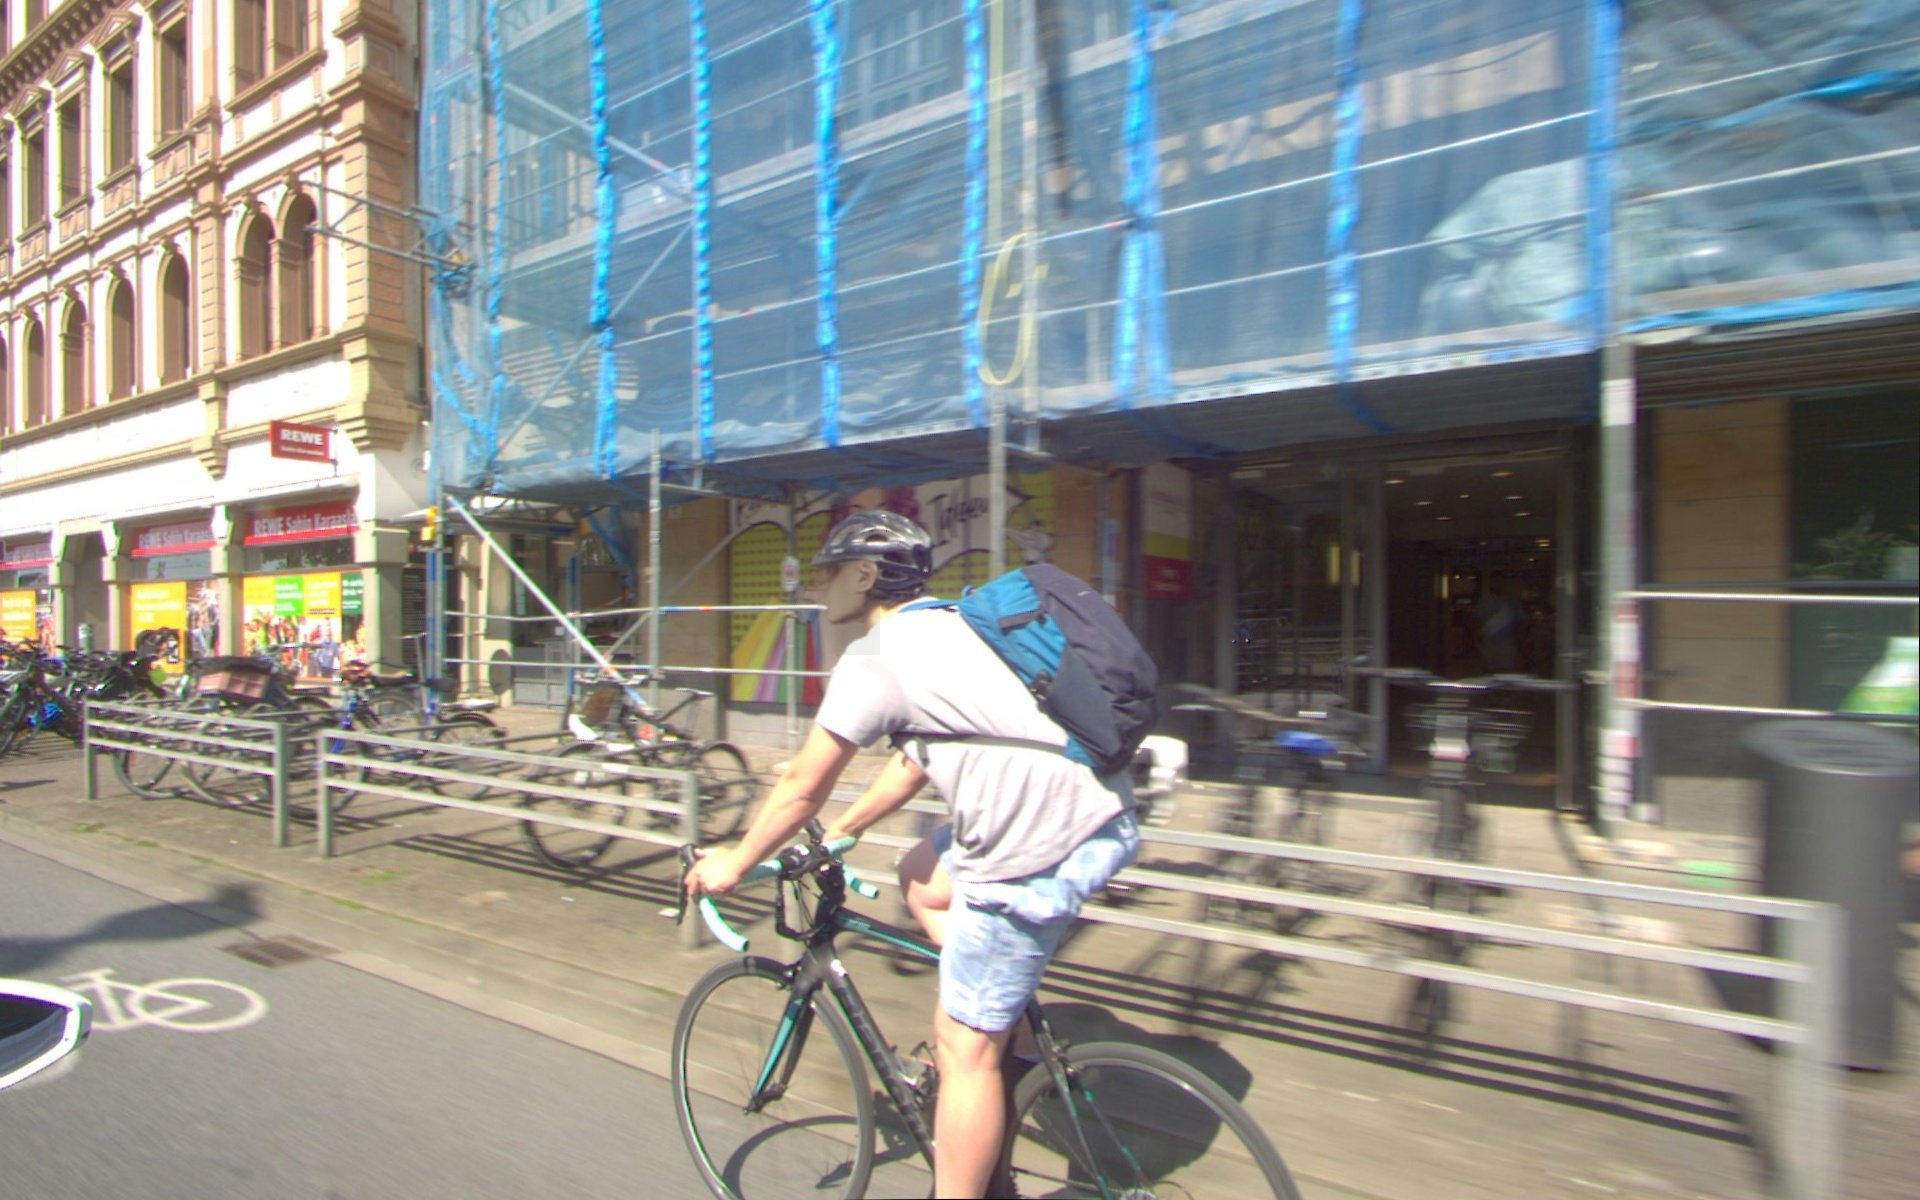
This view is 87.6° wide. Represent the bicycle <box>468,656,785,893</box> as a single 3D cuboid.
[{"bbox_3d":[-1.827,0.895,5.758,0.600,1.123,1.736,-1,-2,33],"label":"bicycle"}]

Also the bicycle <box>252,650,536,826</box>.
[{"bbox_3d":[-4.007,0.916,7.227,0.600,1.101,1.690,-1,-2,33],"label":"bicycle"}]

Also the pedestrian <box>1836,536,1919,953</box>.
[{"bbox_3d":[4.141,0.574,4.053,0.754,1.621,0.643,0,-3,29],"label":"pedestrian"}]

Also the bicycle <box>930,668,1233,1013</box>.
[{"bbox_3d":[0.597,0.863,4.236,0.600,1.111,1.690,-1,-2,33],"label":"bicycle"}]

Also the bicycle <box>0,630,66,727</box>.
[{"bbox_3d":[-12.173,0.966,12.314,0.453,1.193,1.690,-1,-2,33],"label":"bicycle"}]

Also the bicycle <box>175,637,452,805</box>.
[{"bbox_3d":[-5.123,0.904,8.062,0.600,1.193,1.768,-1,-2,33],"label":"bicycle"}]

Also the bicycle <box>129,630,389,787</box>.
[{"bbox_3d":[-5.871,0.865,8.492,0.600,1.193,1.690,-1,-2,33],"label":"bicycle"}]

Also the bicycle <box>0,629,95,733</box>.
[{"bbox_3d":[-11.257,0.940,11.676,0.451,1.193,1.690,-1,-2,33],"label":"bicycle"}]

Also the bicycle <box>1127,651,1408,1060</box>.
[{"bbox_3d":[1.256,0.797,3.839,0.600,1.193,1.690,-1,-2,33],"label":"bicycle"}]

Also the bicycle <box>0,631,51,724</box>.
[{"bbox_3d":[-12.621,0.980,12.593,0.453,1.193,1.690,-1,-2,33],"label":"bicycle"}]

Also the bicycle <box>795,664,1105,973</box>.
[{"bbox_3d":[0.041,0.867,4.601,0.600,1.111,1.690,-1,-2,33],"label":"bicycle"}]

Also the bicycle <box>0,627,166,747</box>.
[{"bbox_3d":[-9.489,0.893,10.535,0.490,1.193,1.690,-1,-2,33],"label":"bicycle"}]

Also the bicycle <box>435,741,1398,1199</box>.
[{"bbox_3d":[-0.201,0.957,2.245,2.099,1.106,0.733,-1,-3,31],"label":"bicycle"}]

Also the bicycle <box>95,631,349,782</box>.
[{"bbox_3d":[-6.444,0.885,8.844,0.600,1.193,1.690,-1,-2,33],"label":"bicycle"}]

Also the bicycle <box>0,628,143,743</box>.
[{"bbox_3d":[-9.962,0.907,10.815,0.484,1.193,1.690,-1,-2,33],"label":"bicycle"}]

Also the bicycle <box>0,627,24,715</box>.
[{"bbox_3d":[-13.588,0.949,13.245,0.463,1.193,1.691,-1,-2,32],"label":"bicycle"}]

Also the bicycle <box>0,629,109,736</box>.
[{"bbox_3d":[-10.836,0.930,11.386,0.457,1.193,1.690,-1,-2,33],"label":"bicycle"}]

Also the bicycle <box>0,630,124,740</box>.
[{"bbox_3d":[-10.413,0.928,11.105,0.445,1.193,1.690,-1,-2,33],"label":"bicycle"}]

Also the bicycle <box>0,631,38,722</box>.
[{"bbox_3d":[-13.057,0.984,12.871,0.463,1.193,1.691,-1,-2,32],"label":"bicycle"}]

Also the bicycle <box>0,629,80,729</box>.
[{"bbox_3d":[-11.708,0.945,11.976,0.506,1.193,1.690,-1,-2,33],"label":"bicycle"}]

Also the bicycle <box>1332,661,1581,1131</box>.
[{"bbox_3d":[1.803,0.825,3.502,0.600,1.193,1.690,-1,-2,33],"label":"bicycle"}]

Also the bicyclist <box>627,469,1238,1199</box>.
[{"bbox_3d":[-0.052,0.555,2.181,1.126,1.481,0.687,-1,-3,31],"label":"bicyclist"}]

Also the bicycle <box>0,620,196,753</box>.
[{"bbox_3d":[-8.949,0.848,10.246,0.600,1.256,1.690,-1,-2,33],"label":"bicycle"}]
